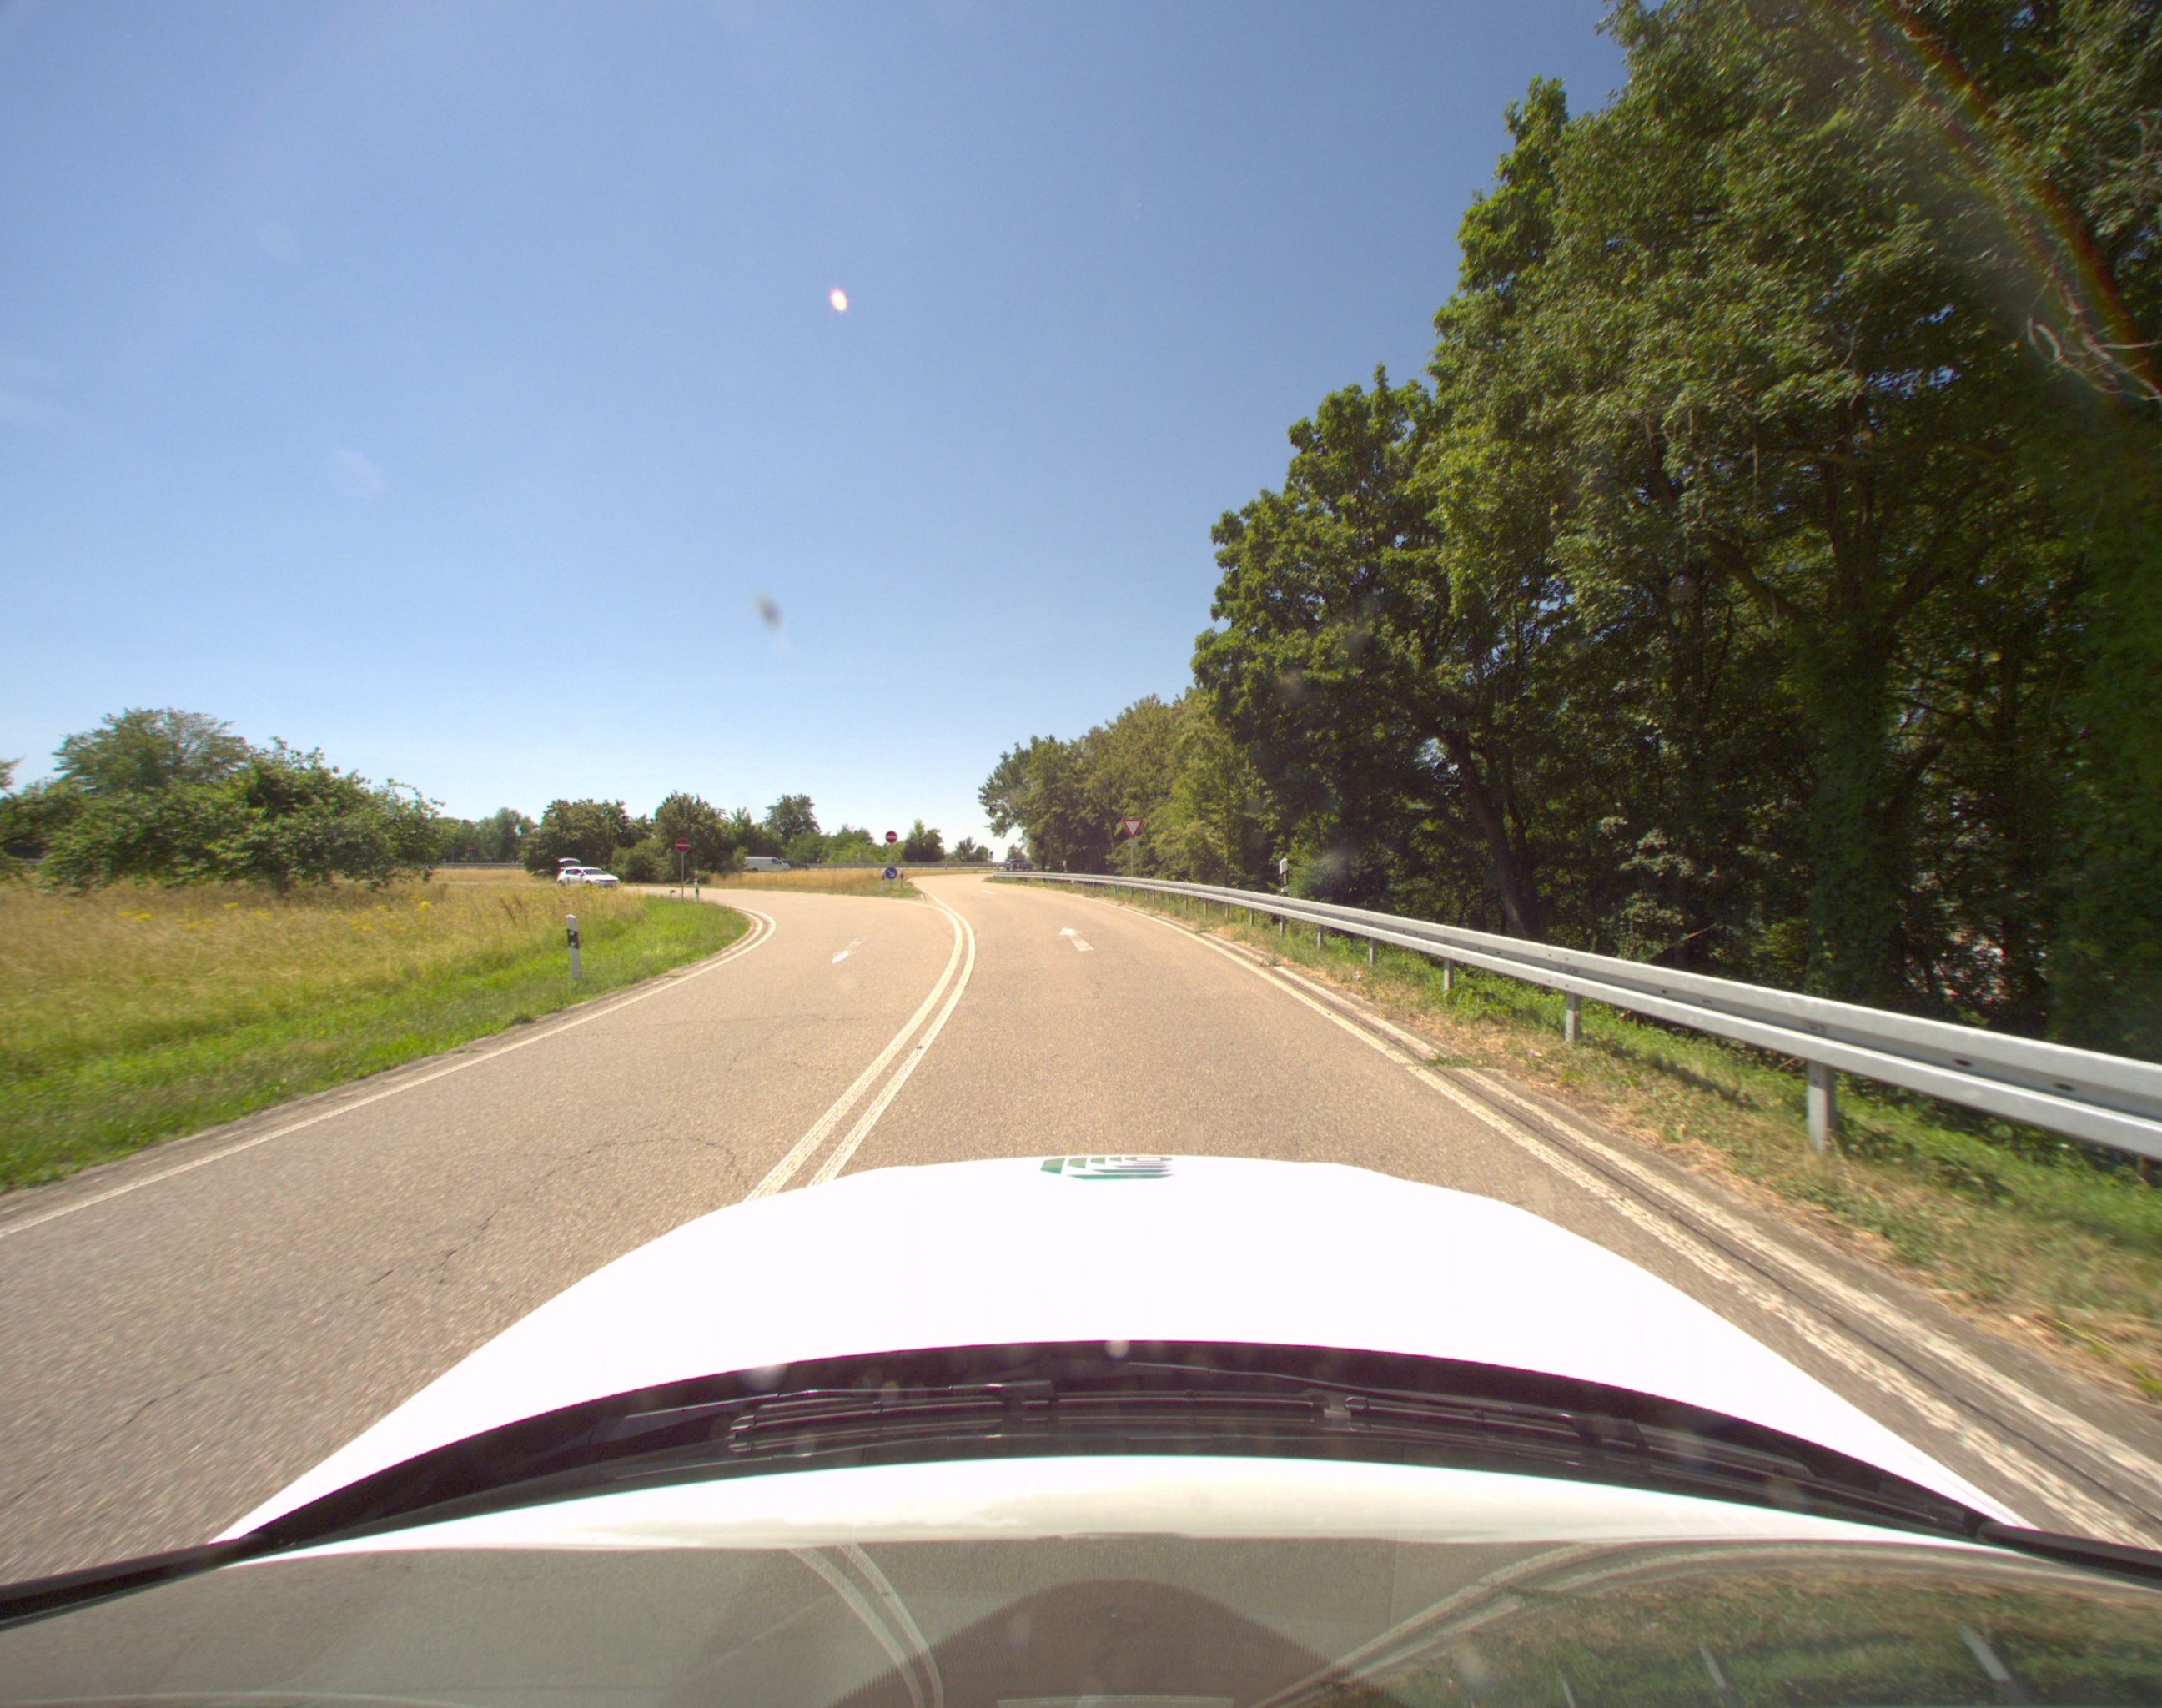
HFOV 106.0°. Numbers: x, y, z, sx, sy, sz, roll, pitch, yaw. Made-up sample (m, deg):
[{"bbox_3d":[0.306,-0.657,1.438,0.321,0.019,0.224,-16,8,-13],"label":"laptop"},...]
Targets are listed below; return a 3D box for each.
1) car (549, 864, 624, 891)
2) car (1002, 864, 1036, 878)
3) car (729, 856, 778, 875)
[{"bbox_3d":[-29.872,1.425,49.180,4.096,1.424,1.863,-2,1,26],"label":"car"},{"bbox_3d":[-8.912,2.413,116.664,4.548,1.928,1.978,2,-3,-37],"label":"car"},{"bbox_3d":[-36.463,1.329,90.706,4.551,1.928,1.976,3,-3,-40],"label":"car"}]
